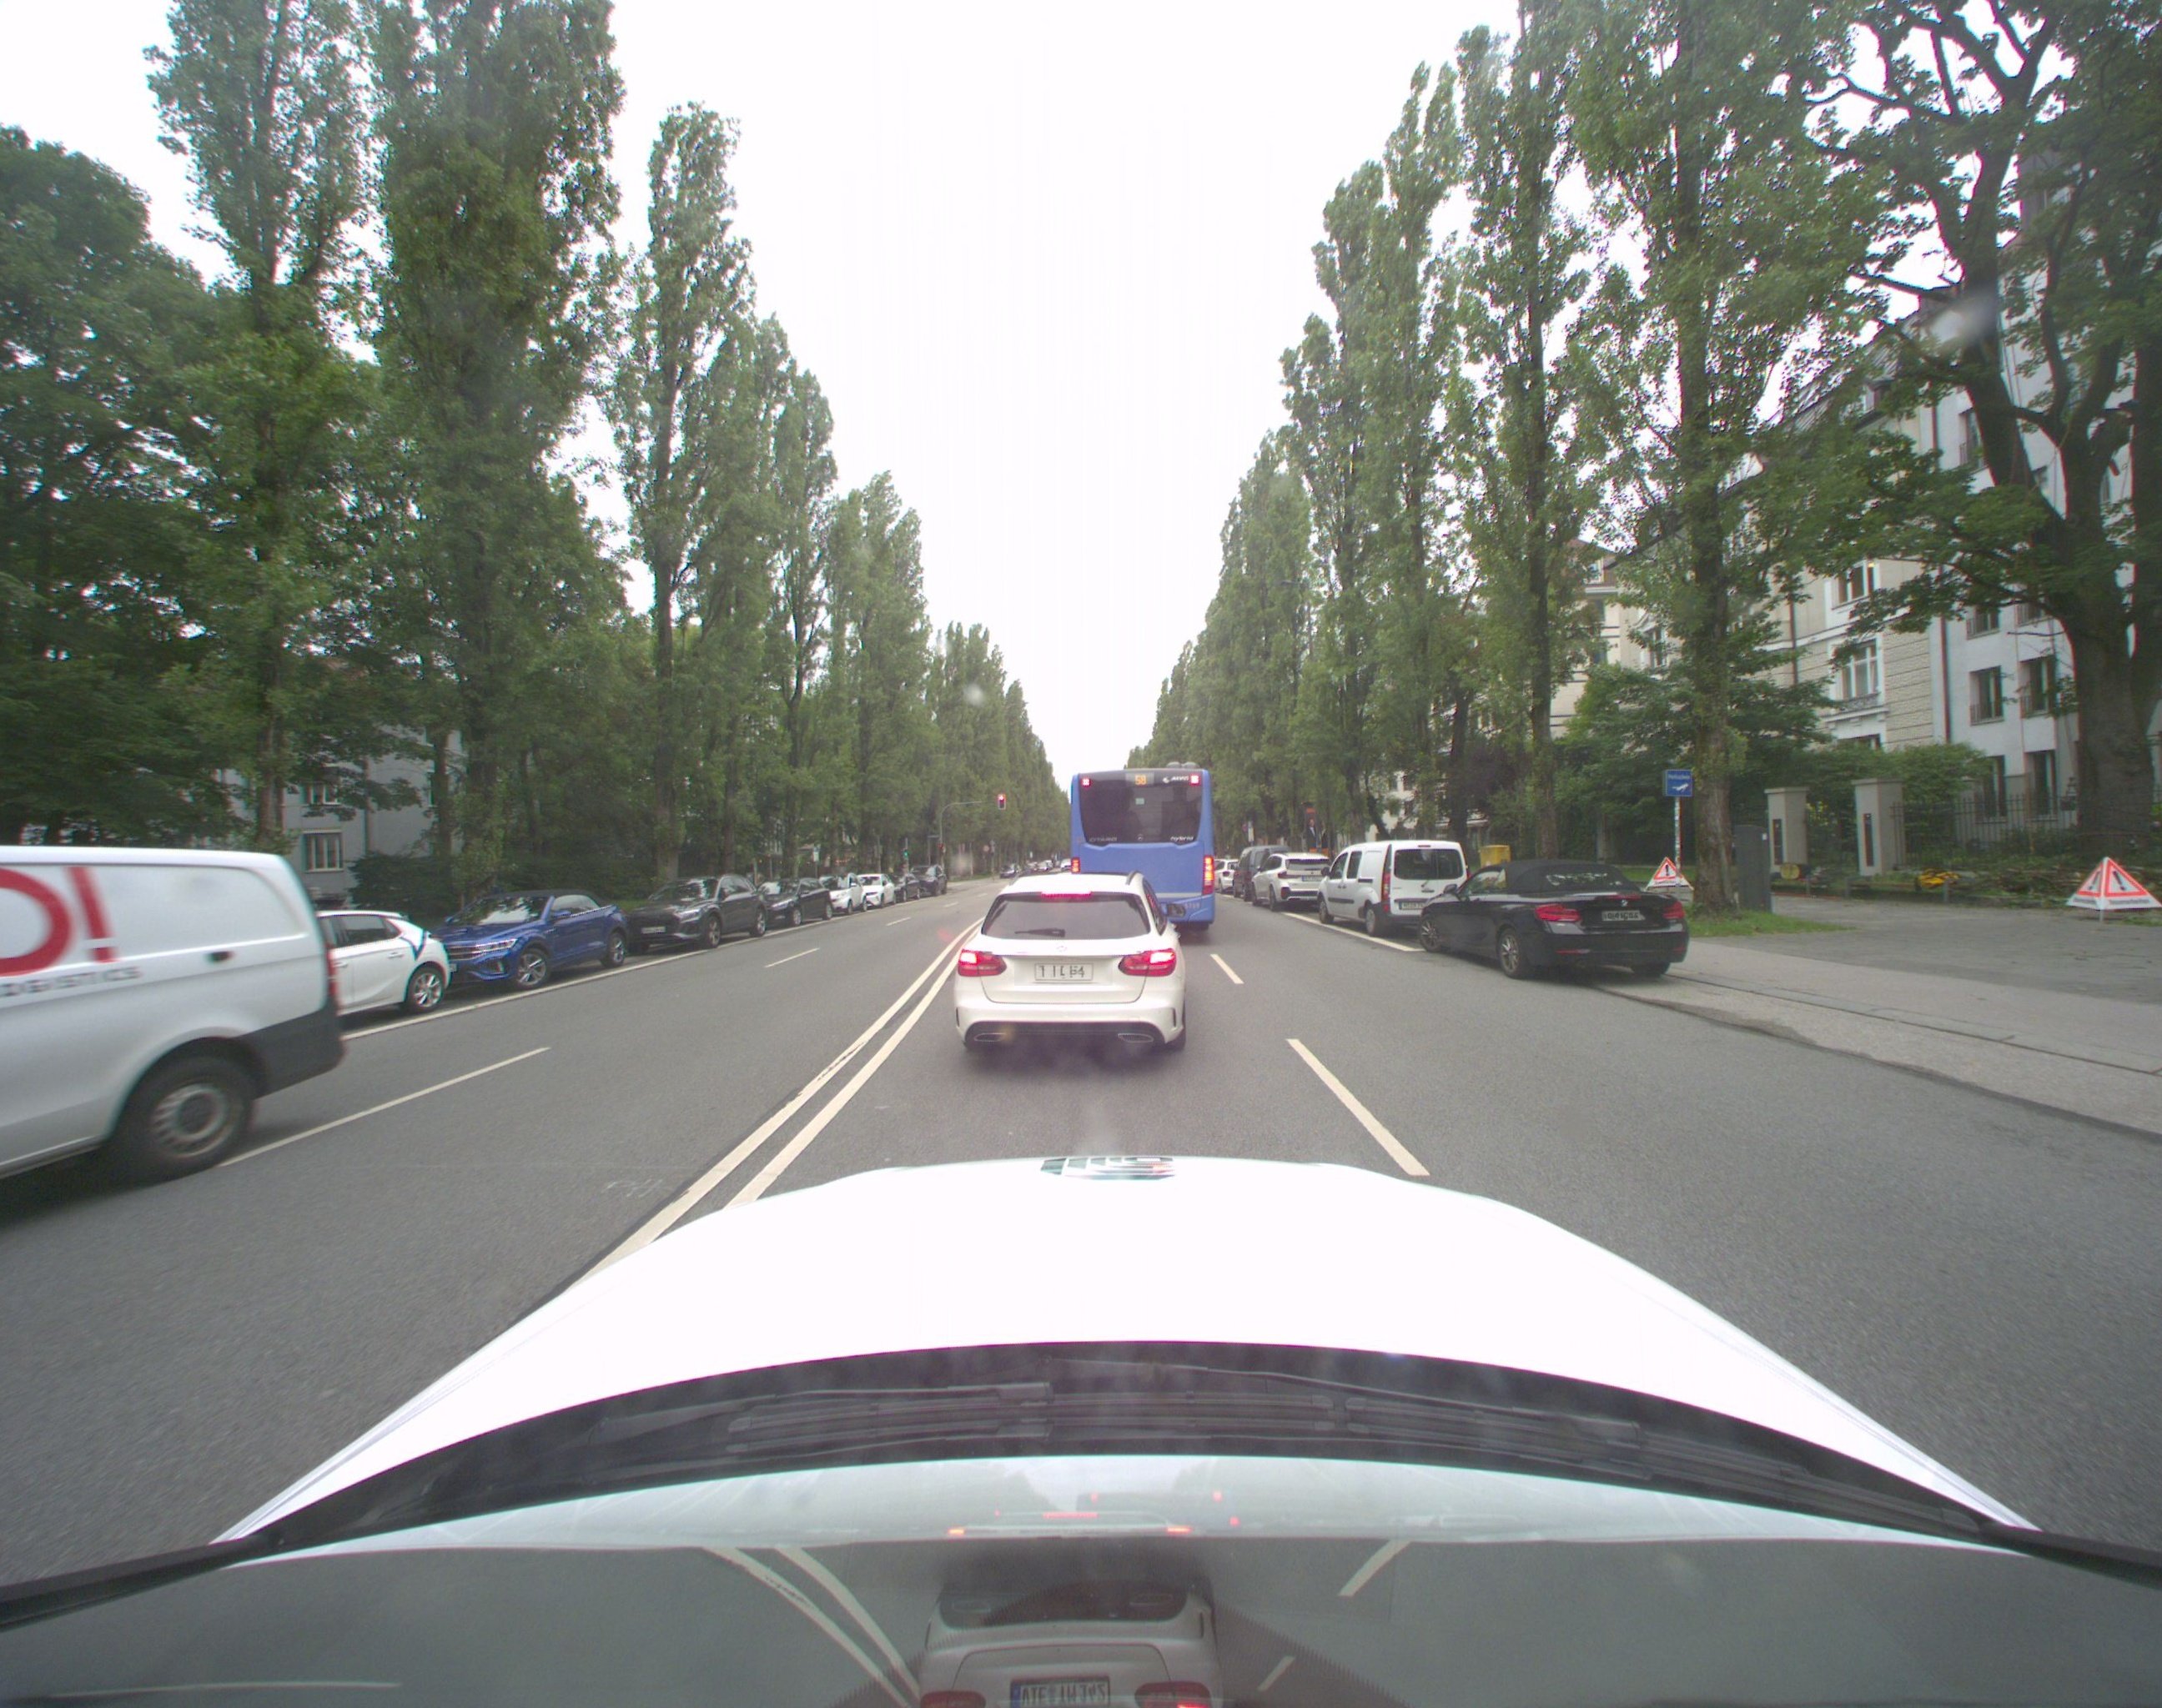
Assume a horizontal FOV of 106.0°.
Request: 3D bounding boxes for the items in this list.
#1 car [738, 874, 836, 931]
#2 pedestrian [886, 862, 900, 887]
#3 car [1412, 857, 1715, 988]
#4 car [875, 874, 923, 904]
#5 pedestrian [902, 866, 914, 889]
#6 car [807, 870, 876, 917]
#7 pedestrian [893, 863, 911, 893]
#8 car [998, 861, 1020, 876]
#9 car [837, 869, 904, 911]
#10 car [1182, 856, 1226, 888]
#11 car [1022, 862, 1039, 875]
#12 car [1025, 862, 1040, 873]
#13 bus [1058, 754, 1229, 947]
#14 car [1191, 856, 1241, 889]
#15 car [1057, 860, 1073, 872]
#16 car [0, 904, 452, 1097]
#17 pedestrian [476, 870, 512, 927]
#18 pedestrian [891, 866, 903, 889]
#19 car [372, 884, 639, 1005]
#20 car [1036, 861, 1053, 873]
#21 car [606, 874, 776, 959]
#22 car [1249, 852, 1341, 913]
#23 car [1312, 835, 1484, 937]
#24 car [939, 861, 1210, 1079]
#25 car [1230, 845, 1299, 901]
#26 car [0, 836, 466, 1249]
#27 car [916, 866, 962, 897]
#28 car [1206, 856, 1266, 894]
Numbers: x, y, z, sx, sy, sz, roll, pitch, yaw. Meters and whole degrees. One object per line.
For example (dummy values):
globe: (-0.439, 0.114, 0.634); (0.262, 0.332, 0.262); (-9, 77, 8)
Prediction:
car: (-9.047, 1.449, 25.398); (1.534, 1.433, 3.869); (-5, -1, 0)
pedestrian: (-13.250, 1.454, 57.422); (0.700, 1.736, 0.809); (-2, -1, 0)
car: (5.989, 0.746, 10.745); (1.739, 1.354, 4.002); (-2, 0, 2)
car: (-8.836, 1.674, 39.798); (1.284, 1.273, 3.850); (-2, 0, 2)
pedestrian: (-15.449, 2.054, 72.584); (0.828, 2.013, 0.777); (-2, -1, -1)
car: (-8.875, 1.417, 30.442); (1.404, 1.552, 3.445); (-2, 0, 2)
pedestrian: (-11.035, 1.463, 50.115); (0.819, 1.764, 1.080); (-2, -1, -1)
car: (-7.649, 1.515, 86.653); (1.815, 1.486, 4.000); (-2, 0, 0)
car: (-8.800, 1.458, 34.307); (1.703, 1.548, 3.999); (-3, -1, 0)
car: (6.780, 0.979, 45.406); (1.803, 1.618, 3.999); (-2, 0, 0)
car: (-6.573, 1.873, 106.088); (1.815, 1.486, 4.000); (-2, 0, 0)
car: (-6.820, 1.848, 115.212); (1.815, 1.486, 4.000); (-2, 0, 0)
bus: (1.640, -0.045, 18.442); (2.840, 3.213, 9.078); (-2, 0, 7)
car: (6.629, 0.887, 40.244); (1.780, 1.492, 3.999); (-2, 0, 0)
car: (-2.242, 1.646, 112.725); (1.987, 1.619, 4.000); (-2, 0, 0)
car: (-9.485, 1.430, 9.116); (1.680, 1.413, 4.004); (-4, -1, 0)
pedestrian: (-18.510, 1.398, 25.681); (0.597, 1.739, 0.640); (-2, -1, 1)
pedestrian: (-16.347, 2.079, 72.499); (0.828, 2.013, 0.777); (-2, -1, -1)
car: (-9.411, 1.371, 13.809); (1.740, 1.519, 4.111); (-4, 0, -4)
car: (-4.492, 1.595, 100.757); (1.815, 1.486, 4.000); (-2, 0, 0)
car: (-9.015, 1.373, 19.297); (1.785, 1.548, 4.338); (-5, -1, 0)
car: (6.065, 0.746, 23.504); (1.671, 1.596, 4.088); (-1, 0, 1)
car: (6.170, 0.573, 16.403); (1.827, 1.773, 4.229); (0, 0, 0)
car: (0.086, 0.813, 7.837); (1.818, 1.454, 4.586); (-1, -1, 3)
car: (6.404, 0.635, 28.749); (1.696, 1.836, 4.003); (-1, 0, 3)
car: (-6.079, 0.931, 3.587); (2.174, 1.891, 5.698); (-4, 0, 2)
car: (-7.873, 1.498, 45.502); (1.701, 1.552, 4.001); (-2, 0, 2)
car: (6.620, 0.866, 35.100); (1.793, 1.475, 3.999); (-2, 0, 0)
